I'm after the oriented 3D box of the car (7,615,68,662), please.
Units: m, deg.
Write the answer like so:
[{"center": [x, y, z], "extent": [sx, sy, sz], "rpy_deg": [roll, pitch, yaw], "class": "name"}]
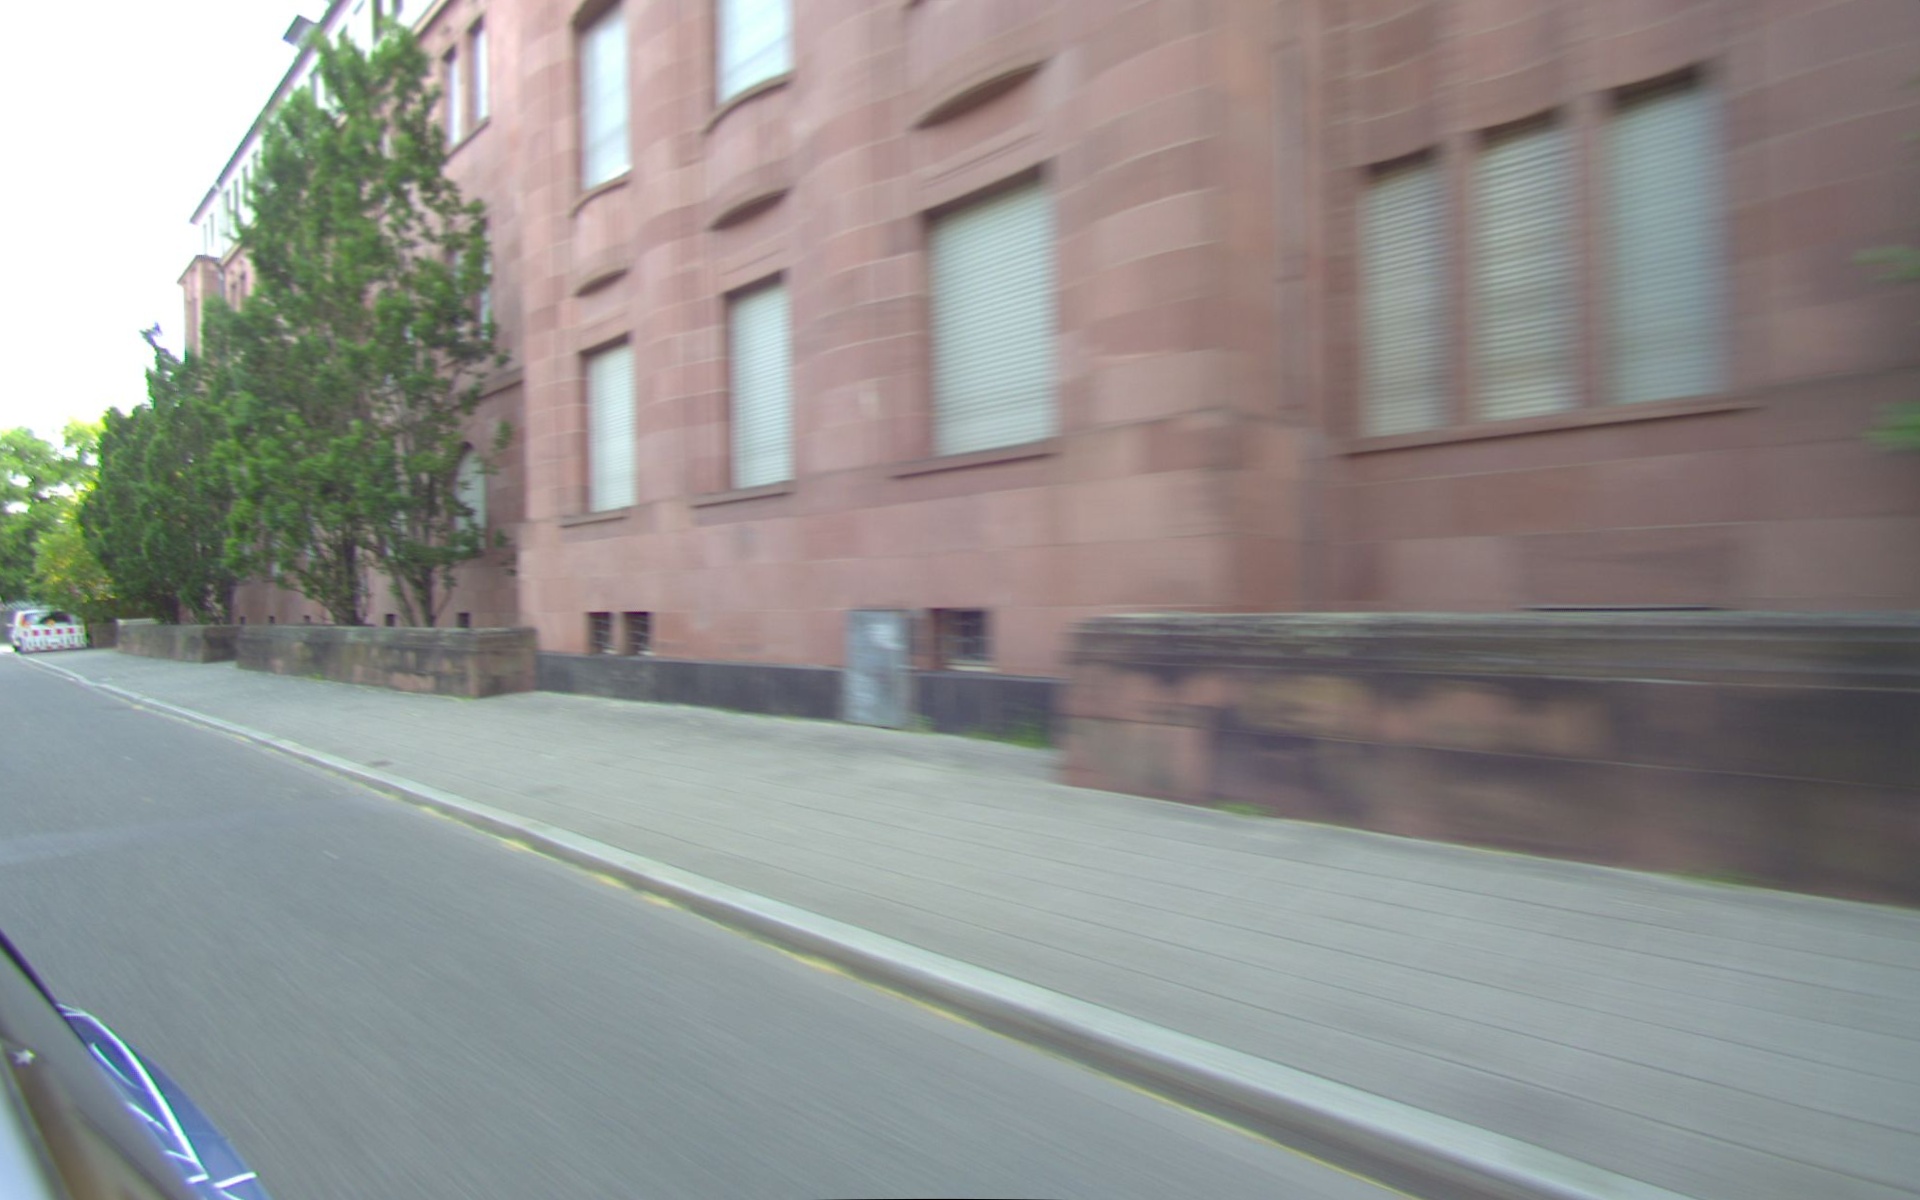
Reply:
[{"center": [-43.212, 1.759, 47.385], "extent": [4.326, 2.067, 1.860], "rpy_deg": [0, 0, 44], "class": "car"}]
